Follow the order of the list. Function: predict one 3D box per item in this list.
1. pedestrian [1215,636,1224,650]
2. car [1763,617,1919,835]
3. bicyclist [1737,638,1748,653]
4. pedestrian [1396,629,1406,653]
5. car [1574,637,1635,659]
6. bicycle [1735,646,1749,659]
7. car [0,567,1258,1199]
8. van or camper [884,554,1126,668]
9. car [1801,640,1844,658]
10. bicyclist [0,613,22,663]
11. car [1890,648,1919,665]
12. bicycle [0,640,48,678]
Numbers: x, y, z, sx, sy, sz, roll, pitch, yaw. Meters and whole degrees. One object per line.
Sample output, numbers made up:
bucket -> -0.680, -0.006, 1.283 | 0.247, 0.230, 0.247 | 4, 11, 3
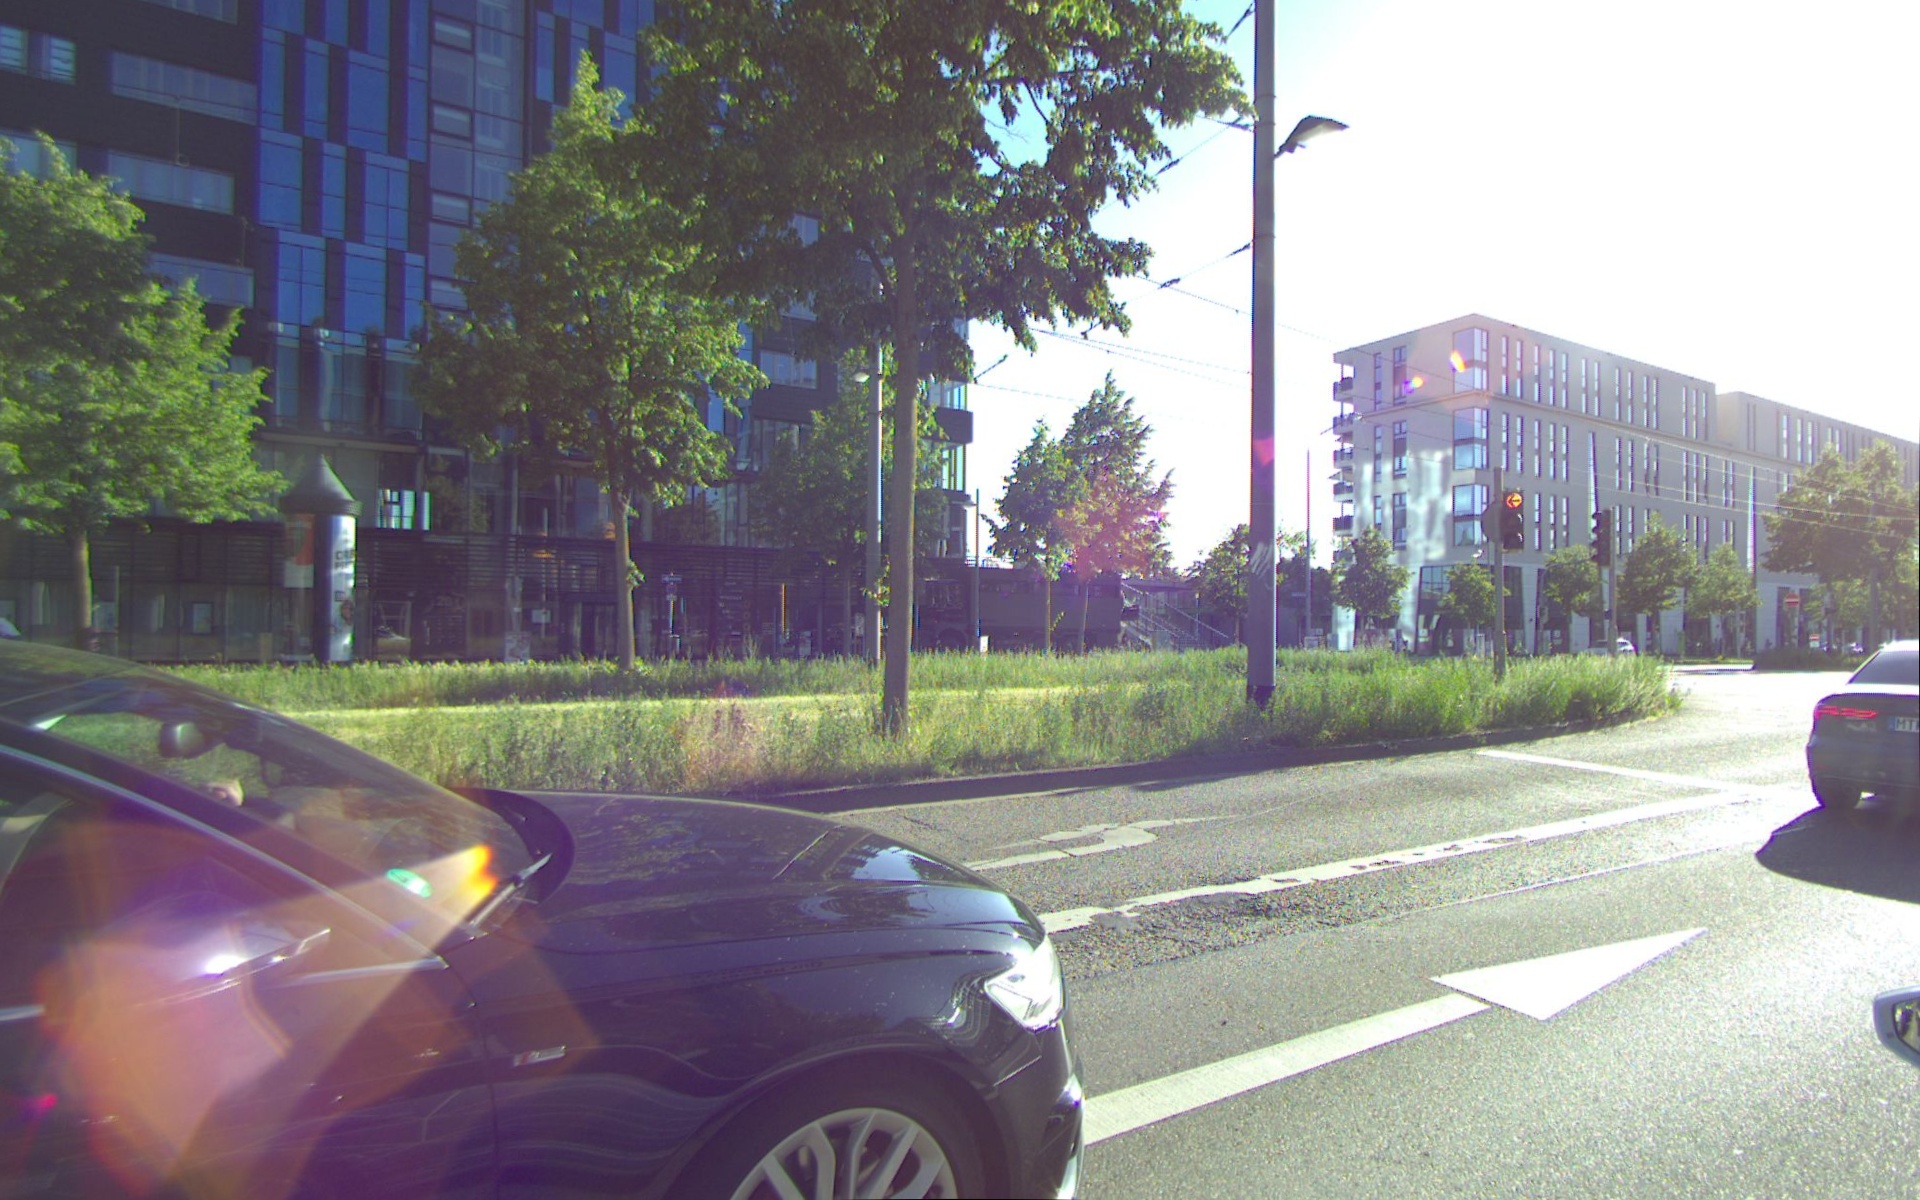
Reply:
pedestrian -> 21.645, 3.609, 83.863 | 0.593, 1.140, 0.437 | 2, -1, -29
car -> 8.503, 0.948, 8.306 | 4.070, 1.548, 1.797 | 2, -2, -34
bicyclist -> 66.692, 3.873, 85.632 | 0.698, 1.310, 0.574 | 2, -1, -36
pedestrian -> 33.390, 3.106, 76.054 | 0.588, 1.795, 0.672 | 1, -1, 23
car -> 41.496, 3.112, 64.610 | 4.421, 1.360, 1.572 | 2, -2, -32
bicycle -> 66.669, 4.467, 85.621 | 1.621, 1.125, 0.525 | 2, -1, -35
car -> -1.716, 0.713, 1.777 | 4.456, 1.476, 1.799 | 2, -2, -31
van or camper -> 2.030, 0.571, 41.241 | 10.111, 4.247, 2.740 | 2, -2, -31
car -> 69.670, 3.975, 81.139 | 3.670, 1.360, 1.572 | 2, -2, -32
bicyclist -> -27.630, 1.086, 29.025 | 0.619, 1.424, 0.489 | 2, -1, -31
car -> 90.147, 5.344, 95.393 | 3.763, 1.548, 1.767 | 2, -2, -32
bicycle -> -27.647, 1.702, 29.021 | 1.827, 1.047, 0.524 | 2, -1, -31
